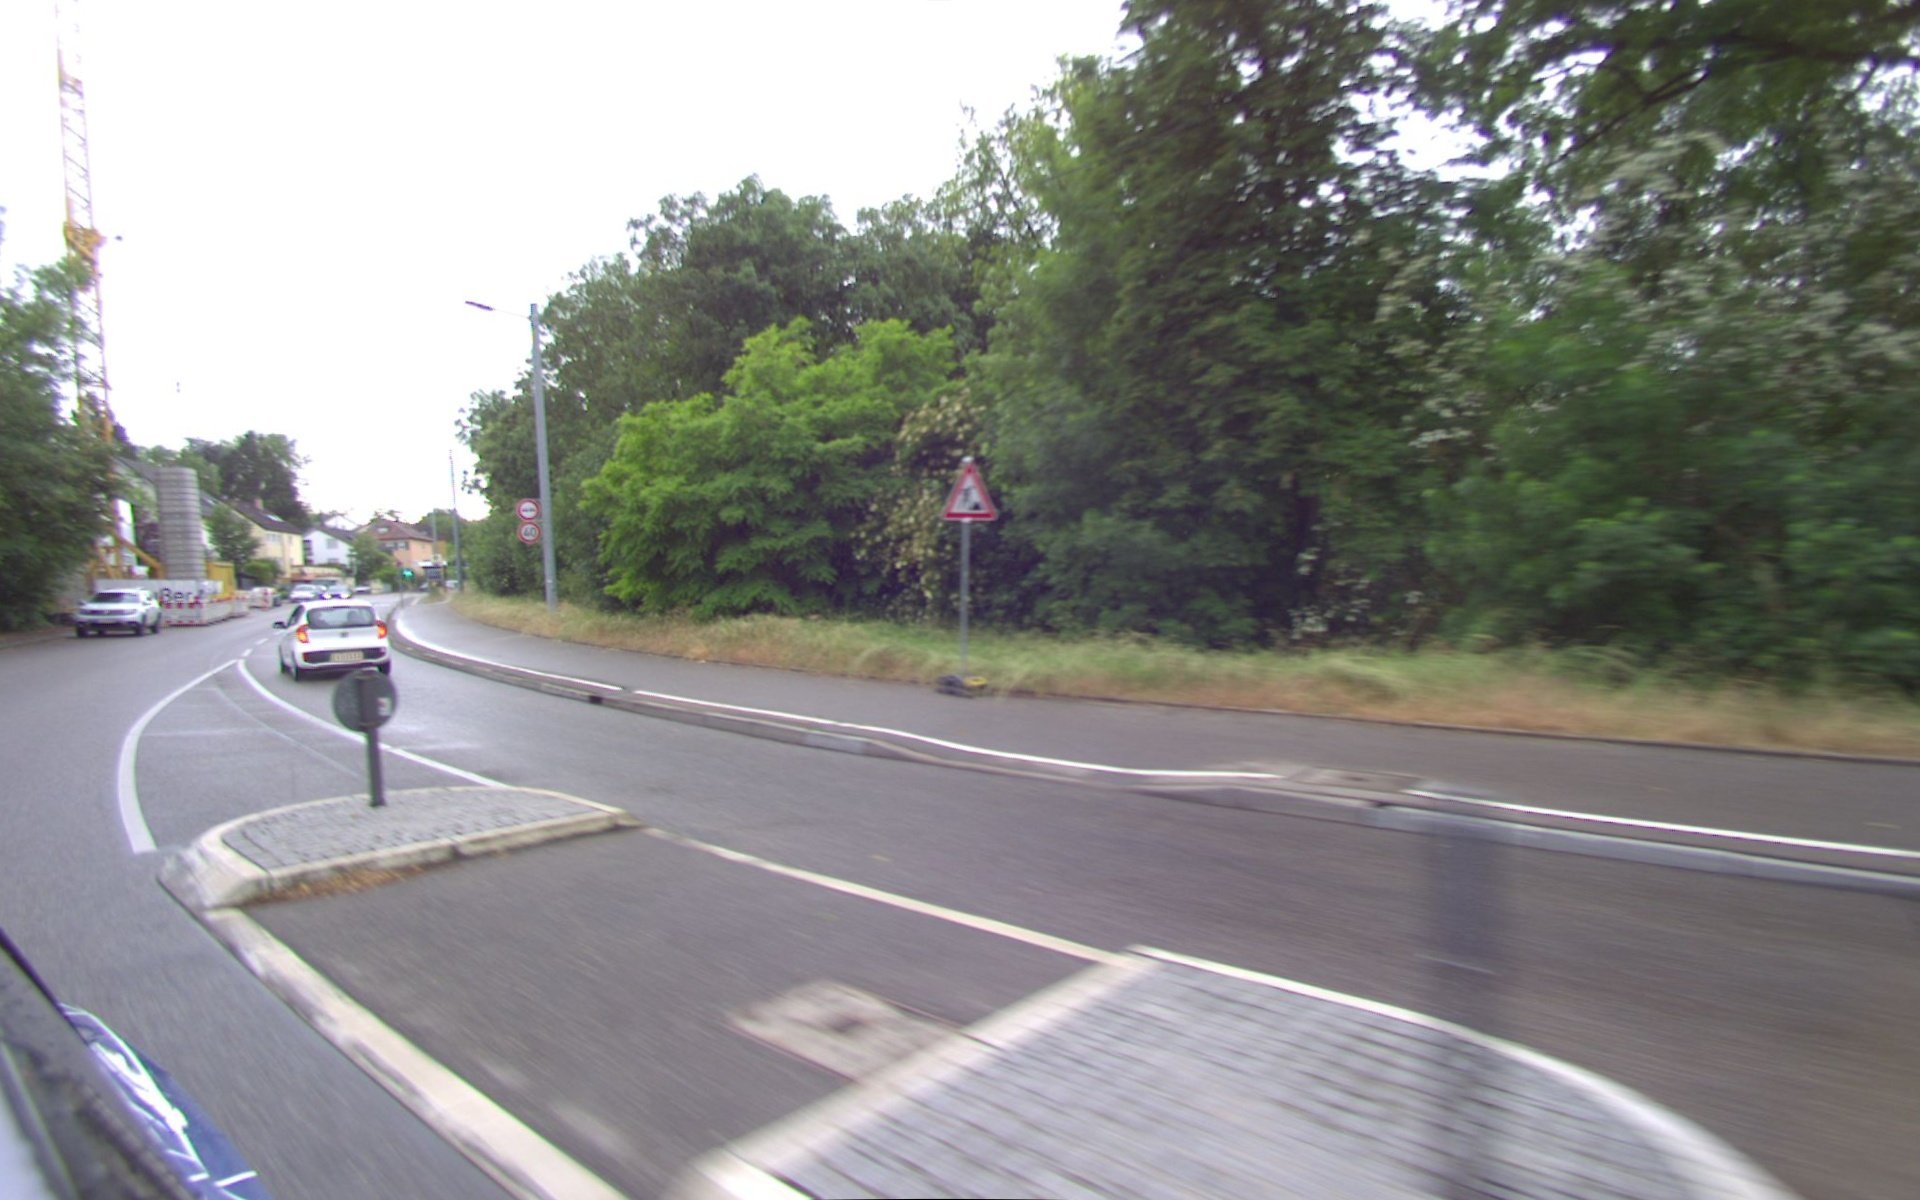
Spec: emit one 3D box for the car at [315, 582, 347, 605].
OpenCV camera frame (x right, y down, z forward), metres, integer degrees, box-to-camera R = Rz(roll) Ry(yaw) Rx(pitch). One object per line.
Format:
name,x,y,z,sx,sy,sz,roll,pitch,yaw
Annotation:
car,-48.706,-0.481,78.390,1.966,1.730,4.012,-1,-1,-30

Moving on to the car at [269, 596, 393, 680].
car,-12.676,0.680,20.300,1.612,1.465,3.809,-1,1,-39

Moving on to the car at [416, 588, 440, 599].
car,-74.817,-0.962,142.393,1.845,1.501,4.008,0,0,-9

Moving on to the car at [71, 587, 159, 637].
car,-29.304,0.383,35.209,1.802,1.607,4.012,1,0,-32

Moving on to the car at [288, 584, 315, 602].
car,-56.241,-0.622,86.500,1.708,1.501,4.013,0,0,-29
